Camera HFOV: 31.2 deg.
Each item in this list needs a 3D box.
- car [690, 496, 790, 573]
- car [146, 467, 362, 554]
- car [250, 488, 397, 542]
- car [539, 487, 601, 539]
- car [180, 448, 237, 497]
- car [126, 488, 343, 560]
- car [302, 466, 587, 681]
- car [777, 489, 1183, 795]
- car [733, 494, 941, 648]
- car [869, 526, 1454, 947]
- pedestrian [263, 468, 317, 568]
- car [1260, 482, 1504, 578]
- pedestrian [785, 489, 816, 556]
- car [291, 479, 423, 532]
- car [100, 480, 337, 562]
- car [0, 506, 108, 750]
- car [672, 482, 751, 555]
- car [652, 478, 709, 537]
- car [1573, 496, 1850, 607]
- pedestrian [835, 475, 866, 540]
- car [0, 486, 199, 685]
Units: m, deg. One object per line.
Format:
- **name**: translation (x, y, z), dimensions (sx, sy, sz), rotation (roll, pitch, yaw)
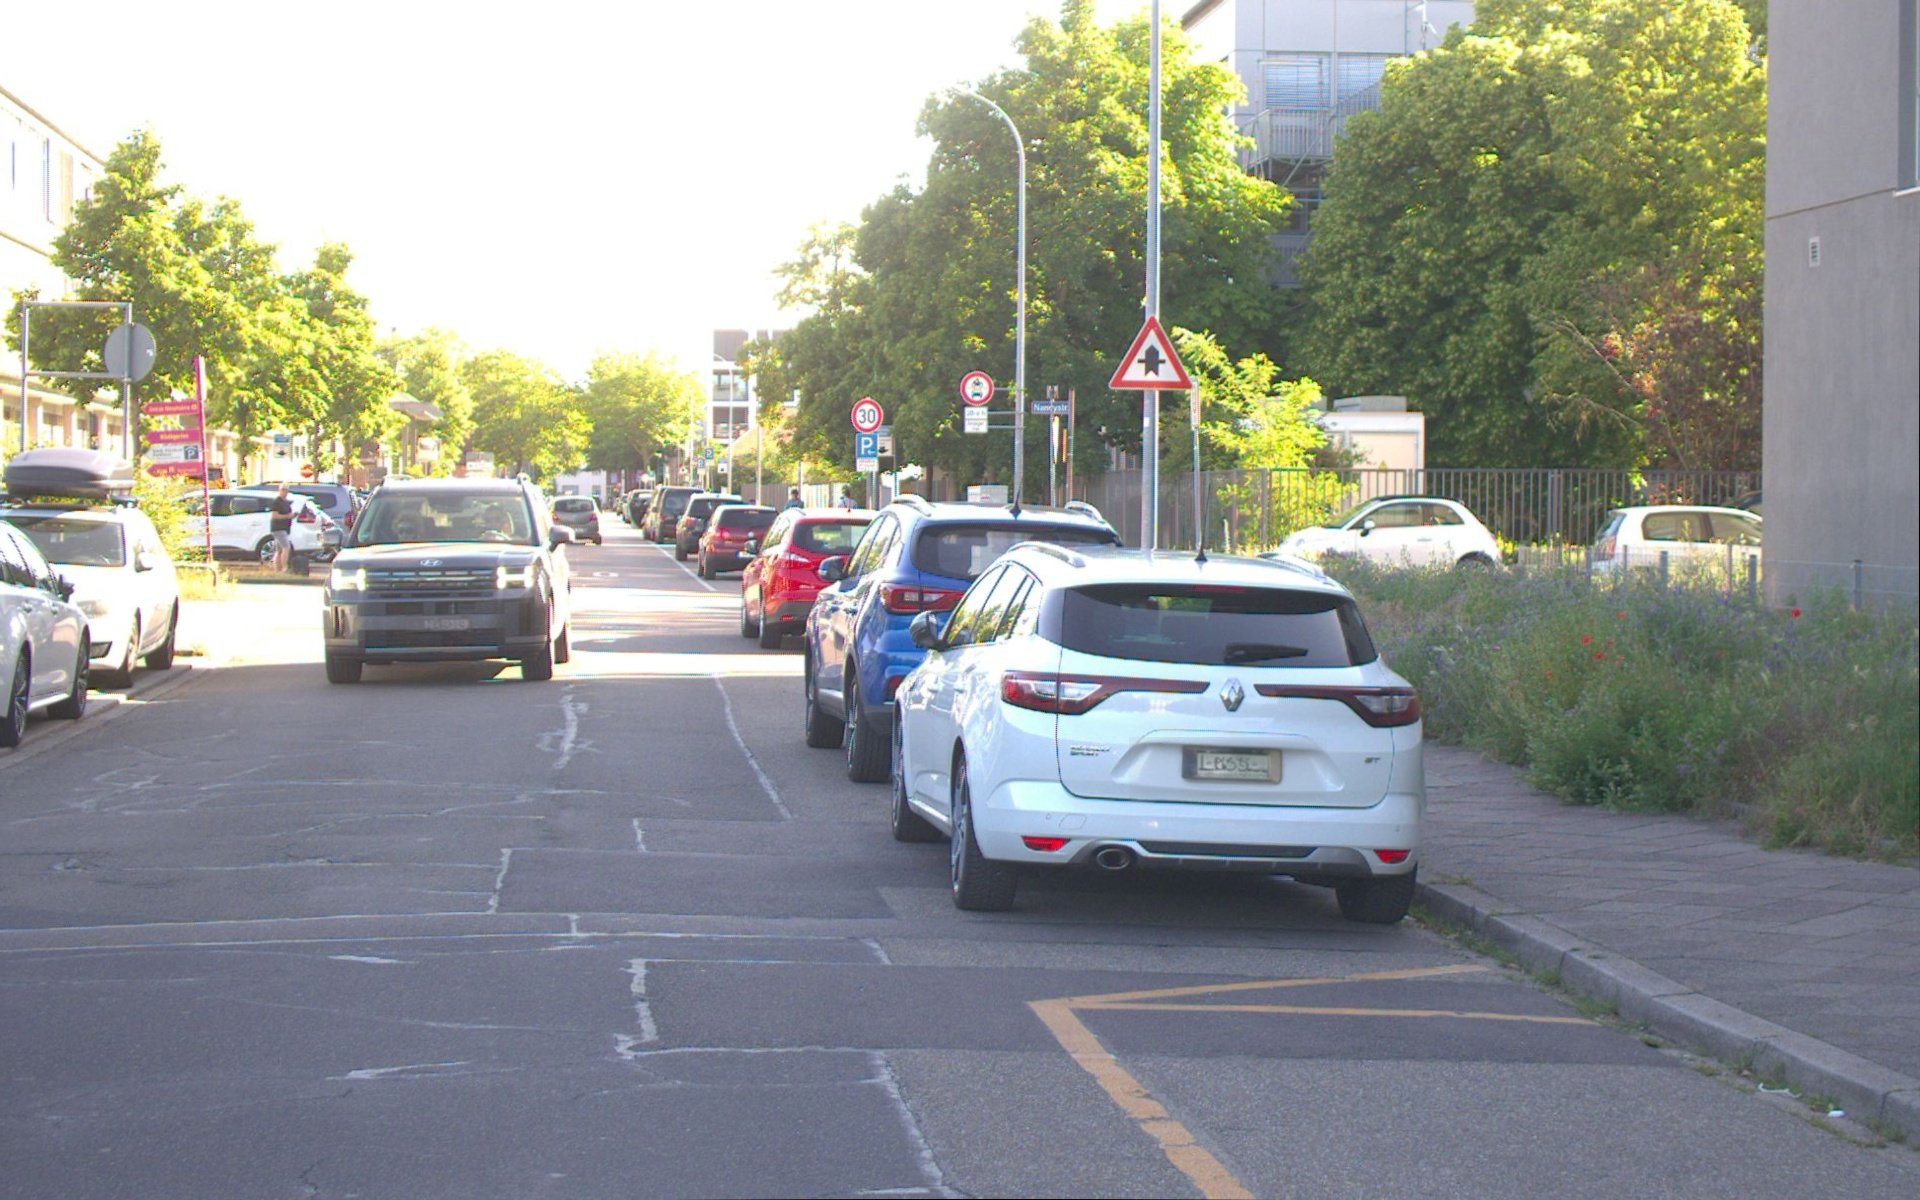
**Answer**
- **car**: translation (-4.476, -1.352, 69.505), dimensions (1.719, 1.449, 4.653), rotation (1, 2, -7)
- **car**: translation (-16.500, -2.110, 80.470), dimensions (4.741, 1.858, 1.828), rotation (2, 2, -6)
- **car**: translation (-17.803, -2.382, 96.222), dimensions (3.986, 1.354, 1.744), rotation (2, 2, -10)
- **car**: translation (-11.974, -2.670, 105.613), dimensions (1.743, 1.538, 4.001), rotation (1, 2, -5)
- **car**: translation (-32.914, -5.580, 150.626), dimensions (1.993, 2.007, 4.001), rotation (1, 1, -6)
- **car**: translation (-15.771, -1.659, 74.876), dimensions (4.433, 1.495, 1.828), rotation (1, 1, -6)
- **car**: translation (-4.473, -0.292, 30.516), dimensions (1.942, 1.721, 4.839), rotation (-1, 2, -2)
- **car**: translation (-0.007, 0.157, 20.923), dimensions (1.816, 1.594, 4.629), rotation (2, 2, -7)
- **car**: translation (-1.394, -0.359, 37.176), dimensions (1.818, 1.494, 4.453), rotation (2, 2, -7)
- **car**: translation (0.674, 0.451, 14.728), dimensions (1.744, 1.424, 4.587), rotation (2, 2, -6)
- **pedestrian**: translation (-12.672, -1.557, 65.059), dimensions (0.857, 1.836, 0.826), rotation (2, 2, -5)
- **car**: translation (6.634, -1.116, 54.235), dimensions (3.546, 1.480, 1.601), rotation (0, 2, -5)
- **pedestrian**: translation (-4.243, -2.057, 91.511), dimensions (0.717, 1.752, 0.885), rotation (-2, 2, -6)
- **car**: translation (-19.827, -3.111, 113.048), dimensions (4.213, 1.597, 1.873), rotation (2, 2, -10)
- **car**: translation (-15.512, -1.663, 72.088), dimensions (4.611, 1.645, 1.868), rotation (1, 1, -3)
- **car**: translation (-6.933, 0.102, 22.971), dimensions (1.746, 1.441, 4.542), rotation (2, 2, -6)
- **car**: translation (-6.200, -2.051, 85.444), dimensions (1.812, 1.660, 4.594), rotation (2, 3, -5)
- **car**: translation (-8.982, -2.982, 110.241), dimensions (1.732, 1.824, 3.906), rotation (0, 2, -6)
- **car**: translation (10.095, -0.666, 46.328), dimensions (3.326, 1.453, 1.715), rotation (0, 2, -1)
- **pedestrian**: translation (-2.793, -2.370, 87.725), dimensions (0.698, 1.655, 0.752), rotation (-1, 2, -6)
- **car**: translation (-7.654, -0.184, 29.485), dimensions (1.695, 1.508, 4.518), rotation (2, 2, -7)
